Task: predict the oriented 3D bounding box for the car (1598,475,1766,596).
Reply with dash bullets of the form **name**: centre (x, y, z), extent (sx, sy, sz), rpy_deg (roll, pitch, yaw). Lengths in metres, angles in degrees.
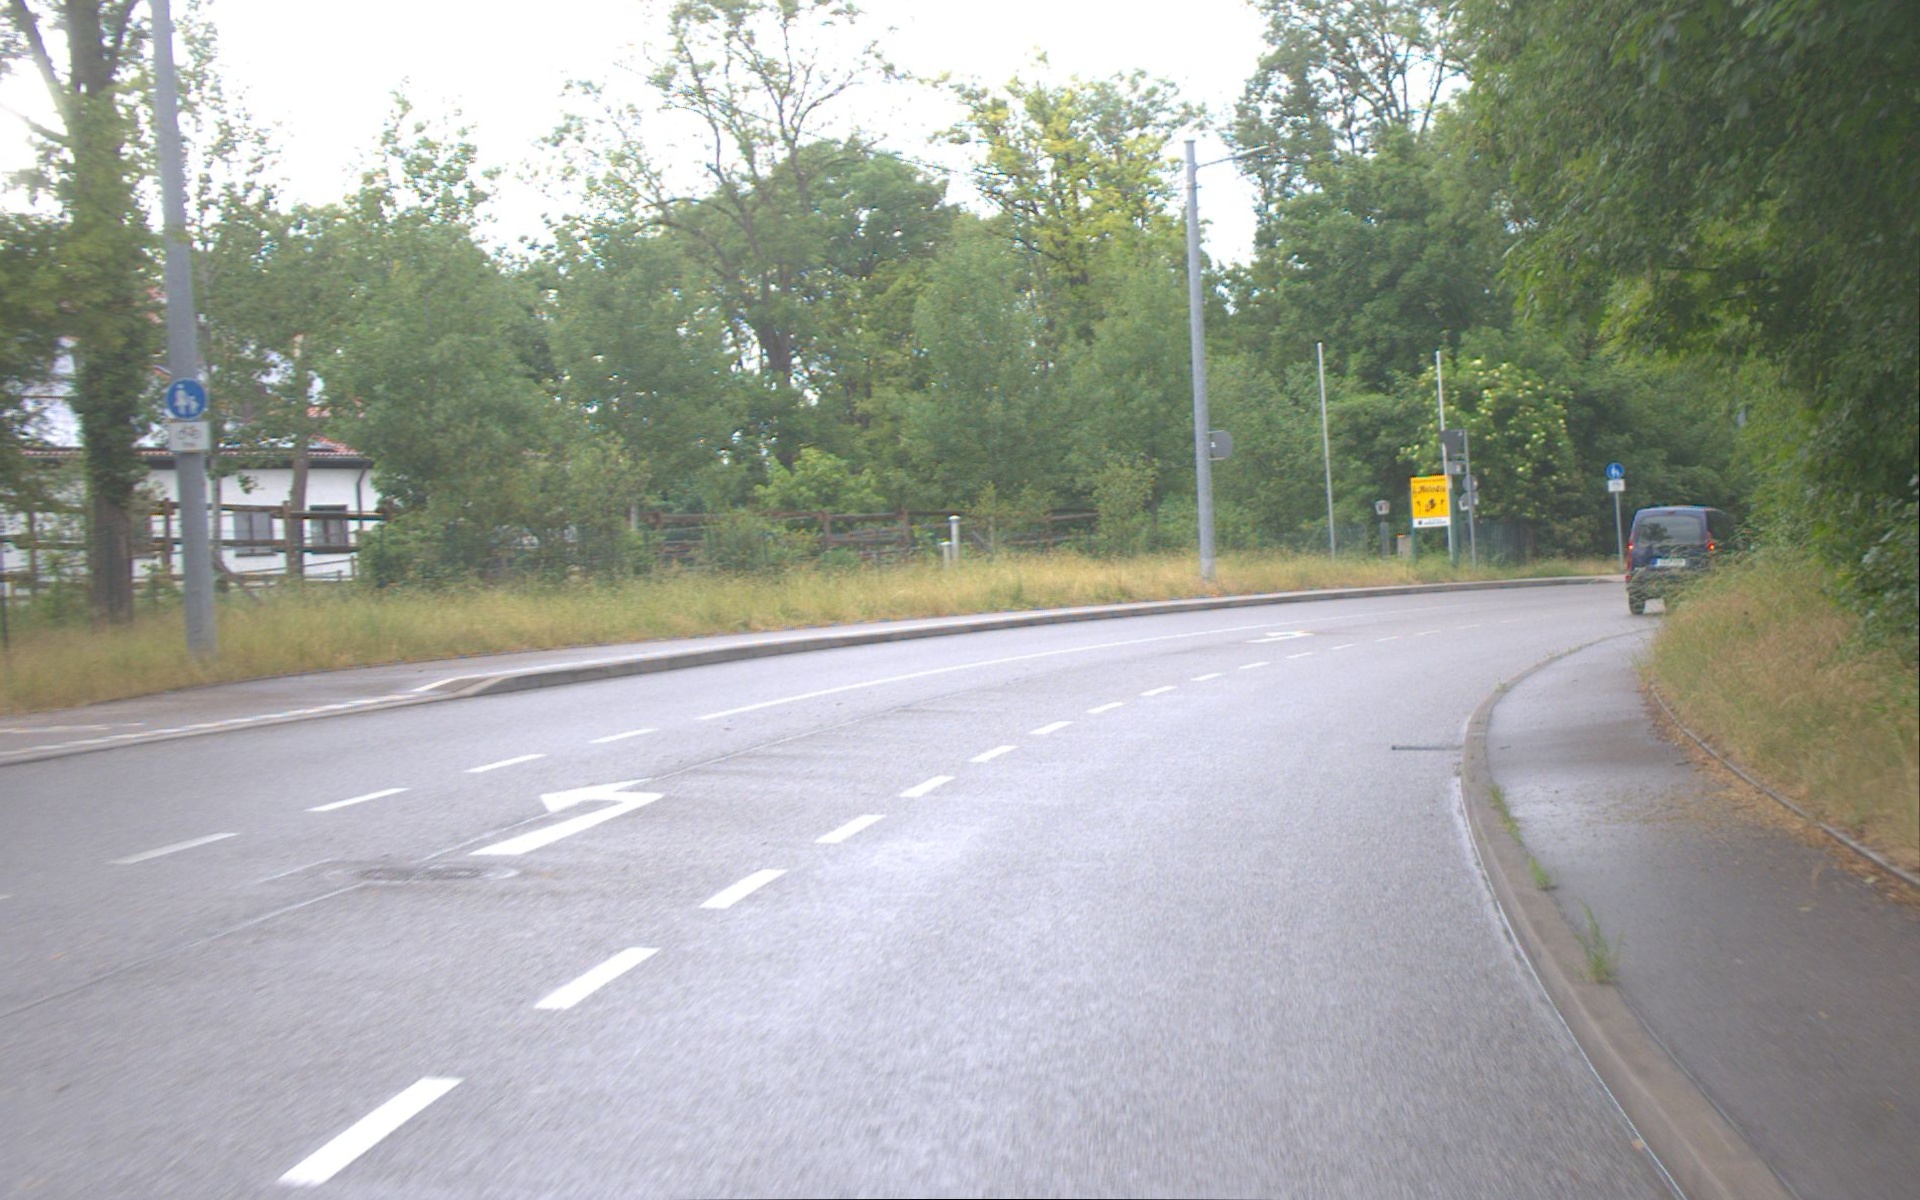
- **car**: centre (12.504, -1.138, 59.368), extent (1.829, 1.787, 3.995), rpy_deg (-6, 0, 25)
